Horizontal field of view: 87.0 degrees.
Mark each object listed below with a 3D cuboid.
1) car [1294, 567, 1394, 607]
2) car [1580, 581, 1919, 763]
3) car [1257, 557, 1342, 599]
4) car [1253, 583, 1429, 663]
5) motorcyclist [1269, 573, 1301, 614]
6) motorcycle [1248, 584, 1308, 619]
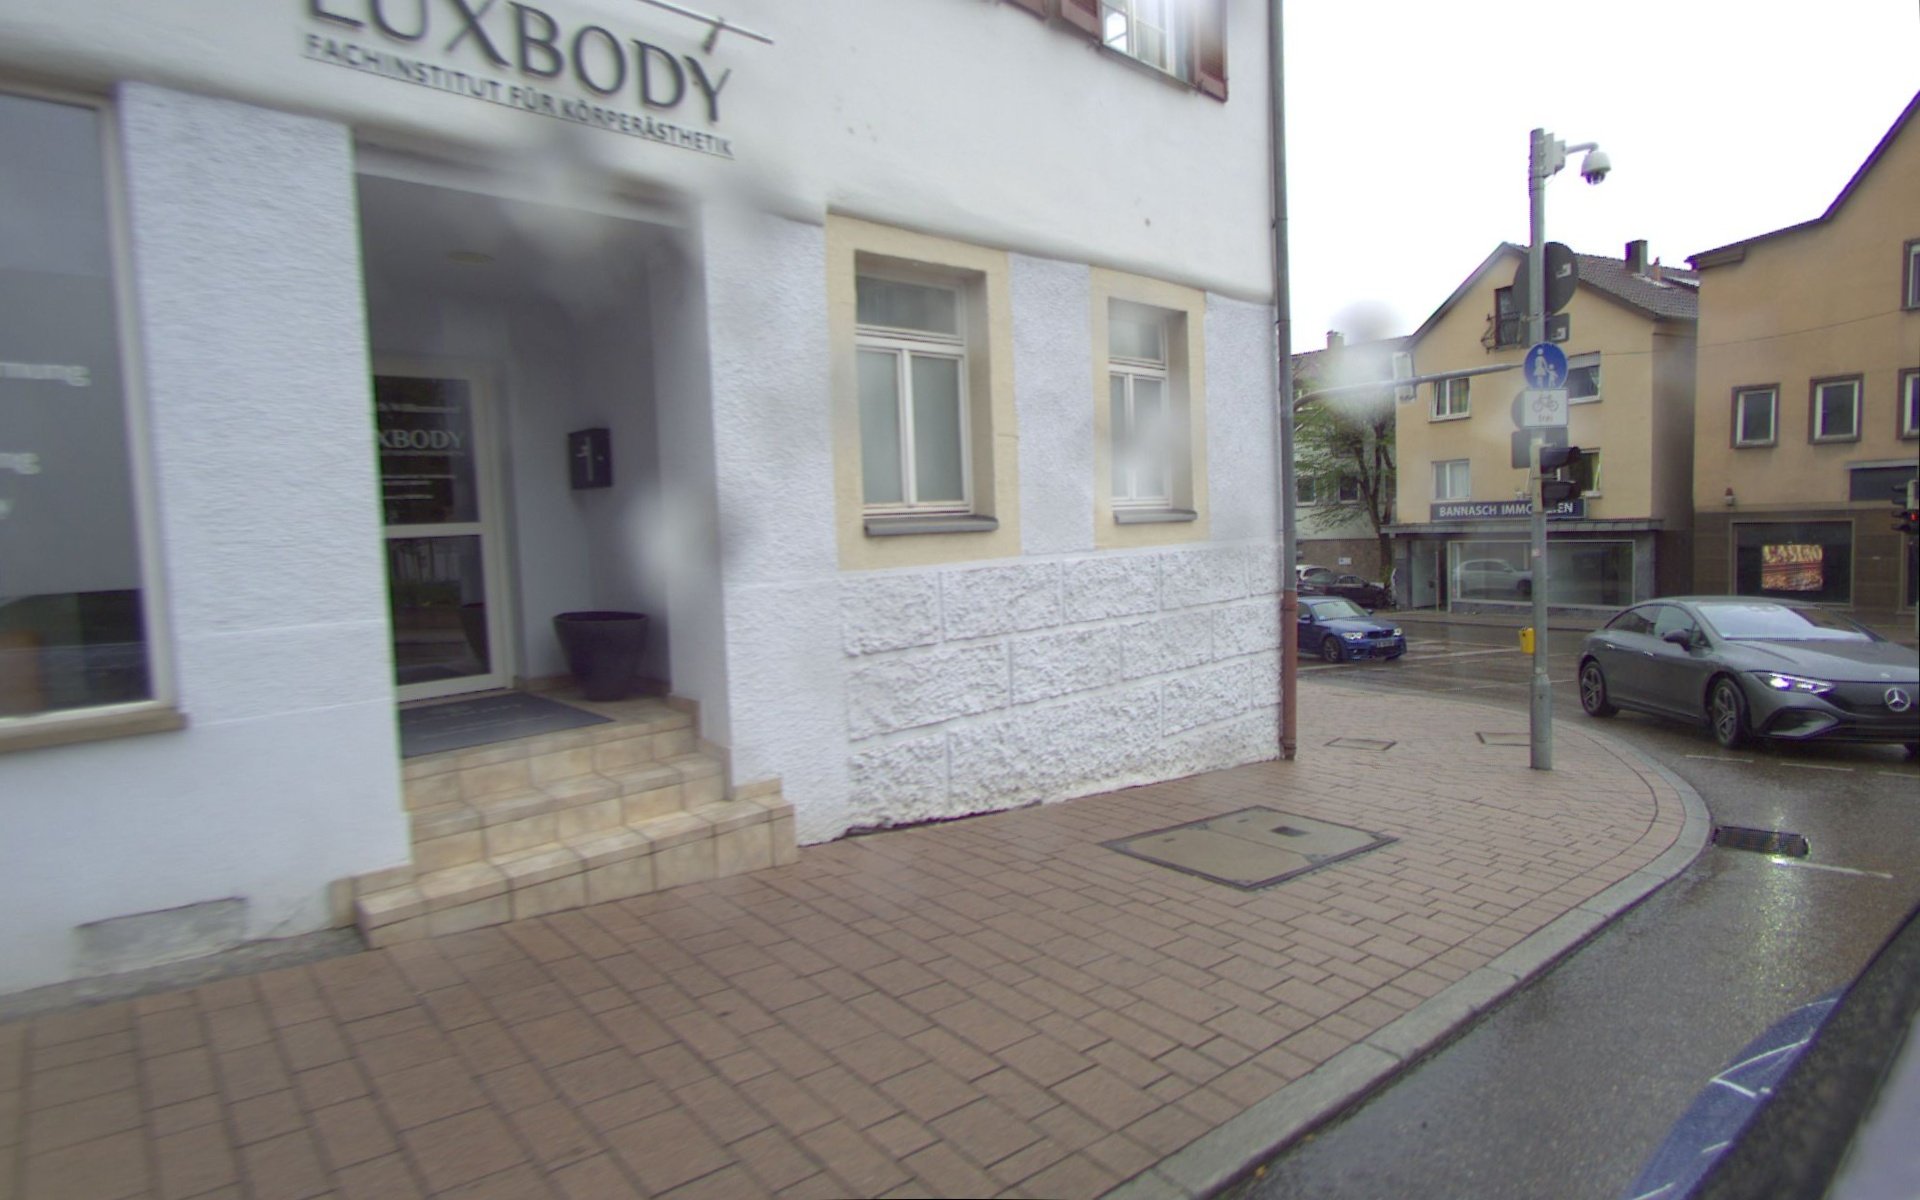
[{"bbox_3d":[16.200,-0.583,42.688,3.921,1.471,1.902,-3,3,-30],"label":"car"},{"bbox_3d":[8.633,0.589,10.752,1.967,1.512,4.302,-2,1,10],"label":"car"},{"bbox_3d":[15.426,-1.039,45.922,3.581,1.648,1.999,-5,5,-38],"label":"car"},{"bbox_3d":[8.922,0.475,24.154,1.739,1.551,4.386,-6,2,-12],"label":"car"},{"bbox_3d":[11.346,-0.241,35.330,0.796,1.370,0.668,-5,2,-36],"label":"motorcyclist"},{"bbox_3d":[11.186,0.041,35.648,0.757,1.144,1.916,-4,3,-36],"label":"motorcycle"}]
